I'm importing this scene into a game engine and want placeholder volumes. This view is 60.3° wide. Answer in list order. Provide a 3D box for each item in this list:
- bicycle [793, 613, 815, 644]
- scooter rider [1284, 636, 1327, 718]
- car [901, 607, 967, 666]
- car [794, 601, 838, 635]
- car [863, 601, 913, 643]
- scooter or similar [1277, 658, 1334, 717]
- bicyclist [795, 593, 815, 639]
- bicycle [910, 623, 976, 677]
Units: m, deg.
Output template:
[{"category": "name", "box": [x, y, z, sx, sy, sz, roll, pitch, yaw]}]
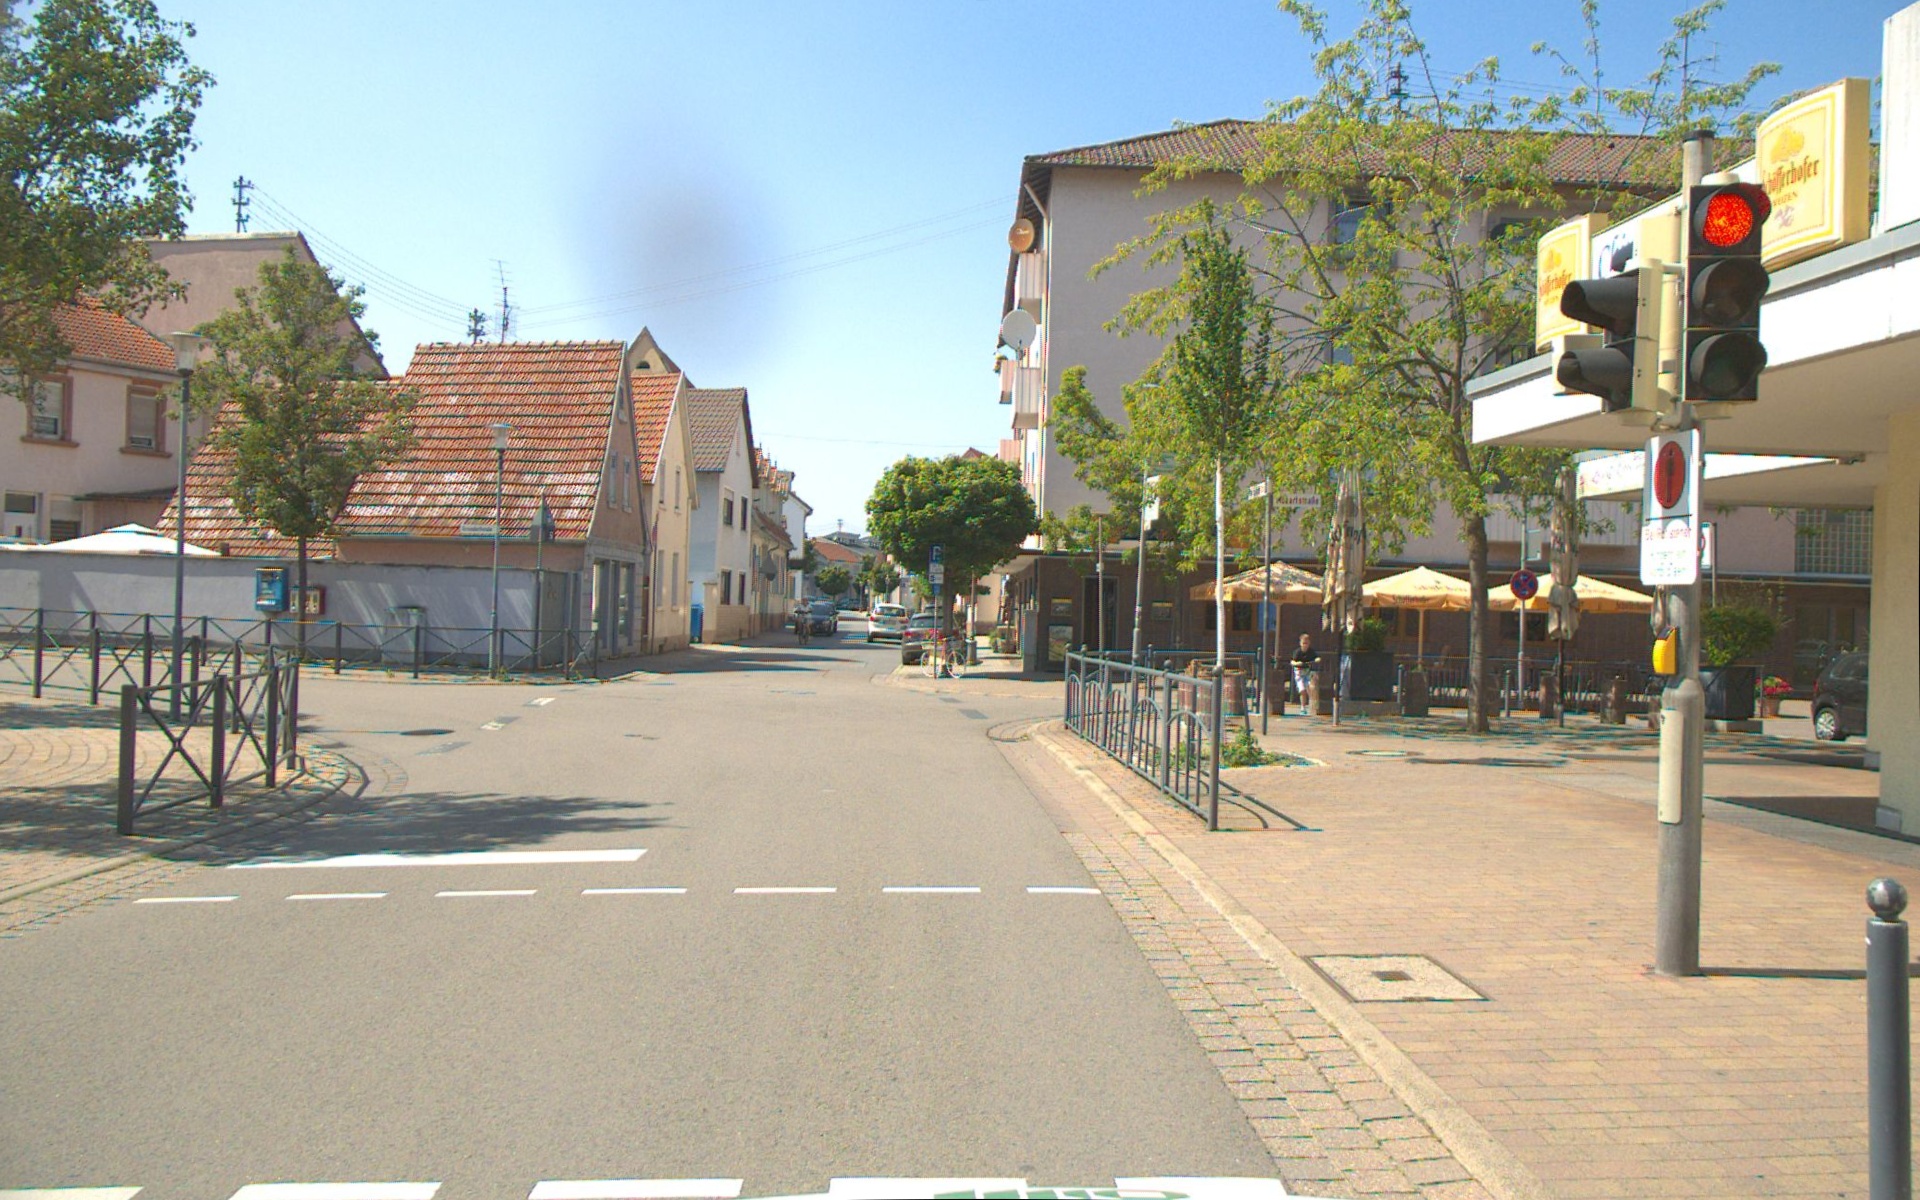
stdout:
[{"category": "bicycle", "box": [-5.789, 1.046, 61.581, 0.660, 1.113, 1.895, 0, 0, -1]}, {"category": "scooter rider", "box": [5.578, 1.238, 26.698, 0.512, 1.308, 0.412, 2, -1, -36]}, {"category": "car", "box": [-0.705, 1.010, 47.367, 1.768, 1.528, 4.000, 2, 0, 0]}, {"category": "car", "box": [-6.782, 0.842, 78.083, 1.679, 1.543, 3.786, 2, 0, 0]}, {"category": "car", "box": [-2.991, 0.916, 69.738, 1.796, 1.681, 4.001, 2, 0, 1]}, {"category": "scooter or similar", "box": [5.572, 1.404, 26.689, 0.376, 0.889, 0.879, 2, -1, -35]}, {"category": "bicyclist", "box": [-5.776, 0.597, 61.641, 0.655, 1.720, 0.761, 1, -1, -1]}, {"category": "bicycle", "box": [-0.411, 1.157, 38.597, 0.523, 1.214, 1.648, 2, -1, -44]}]
